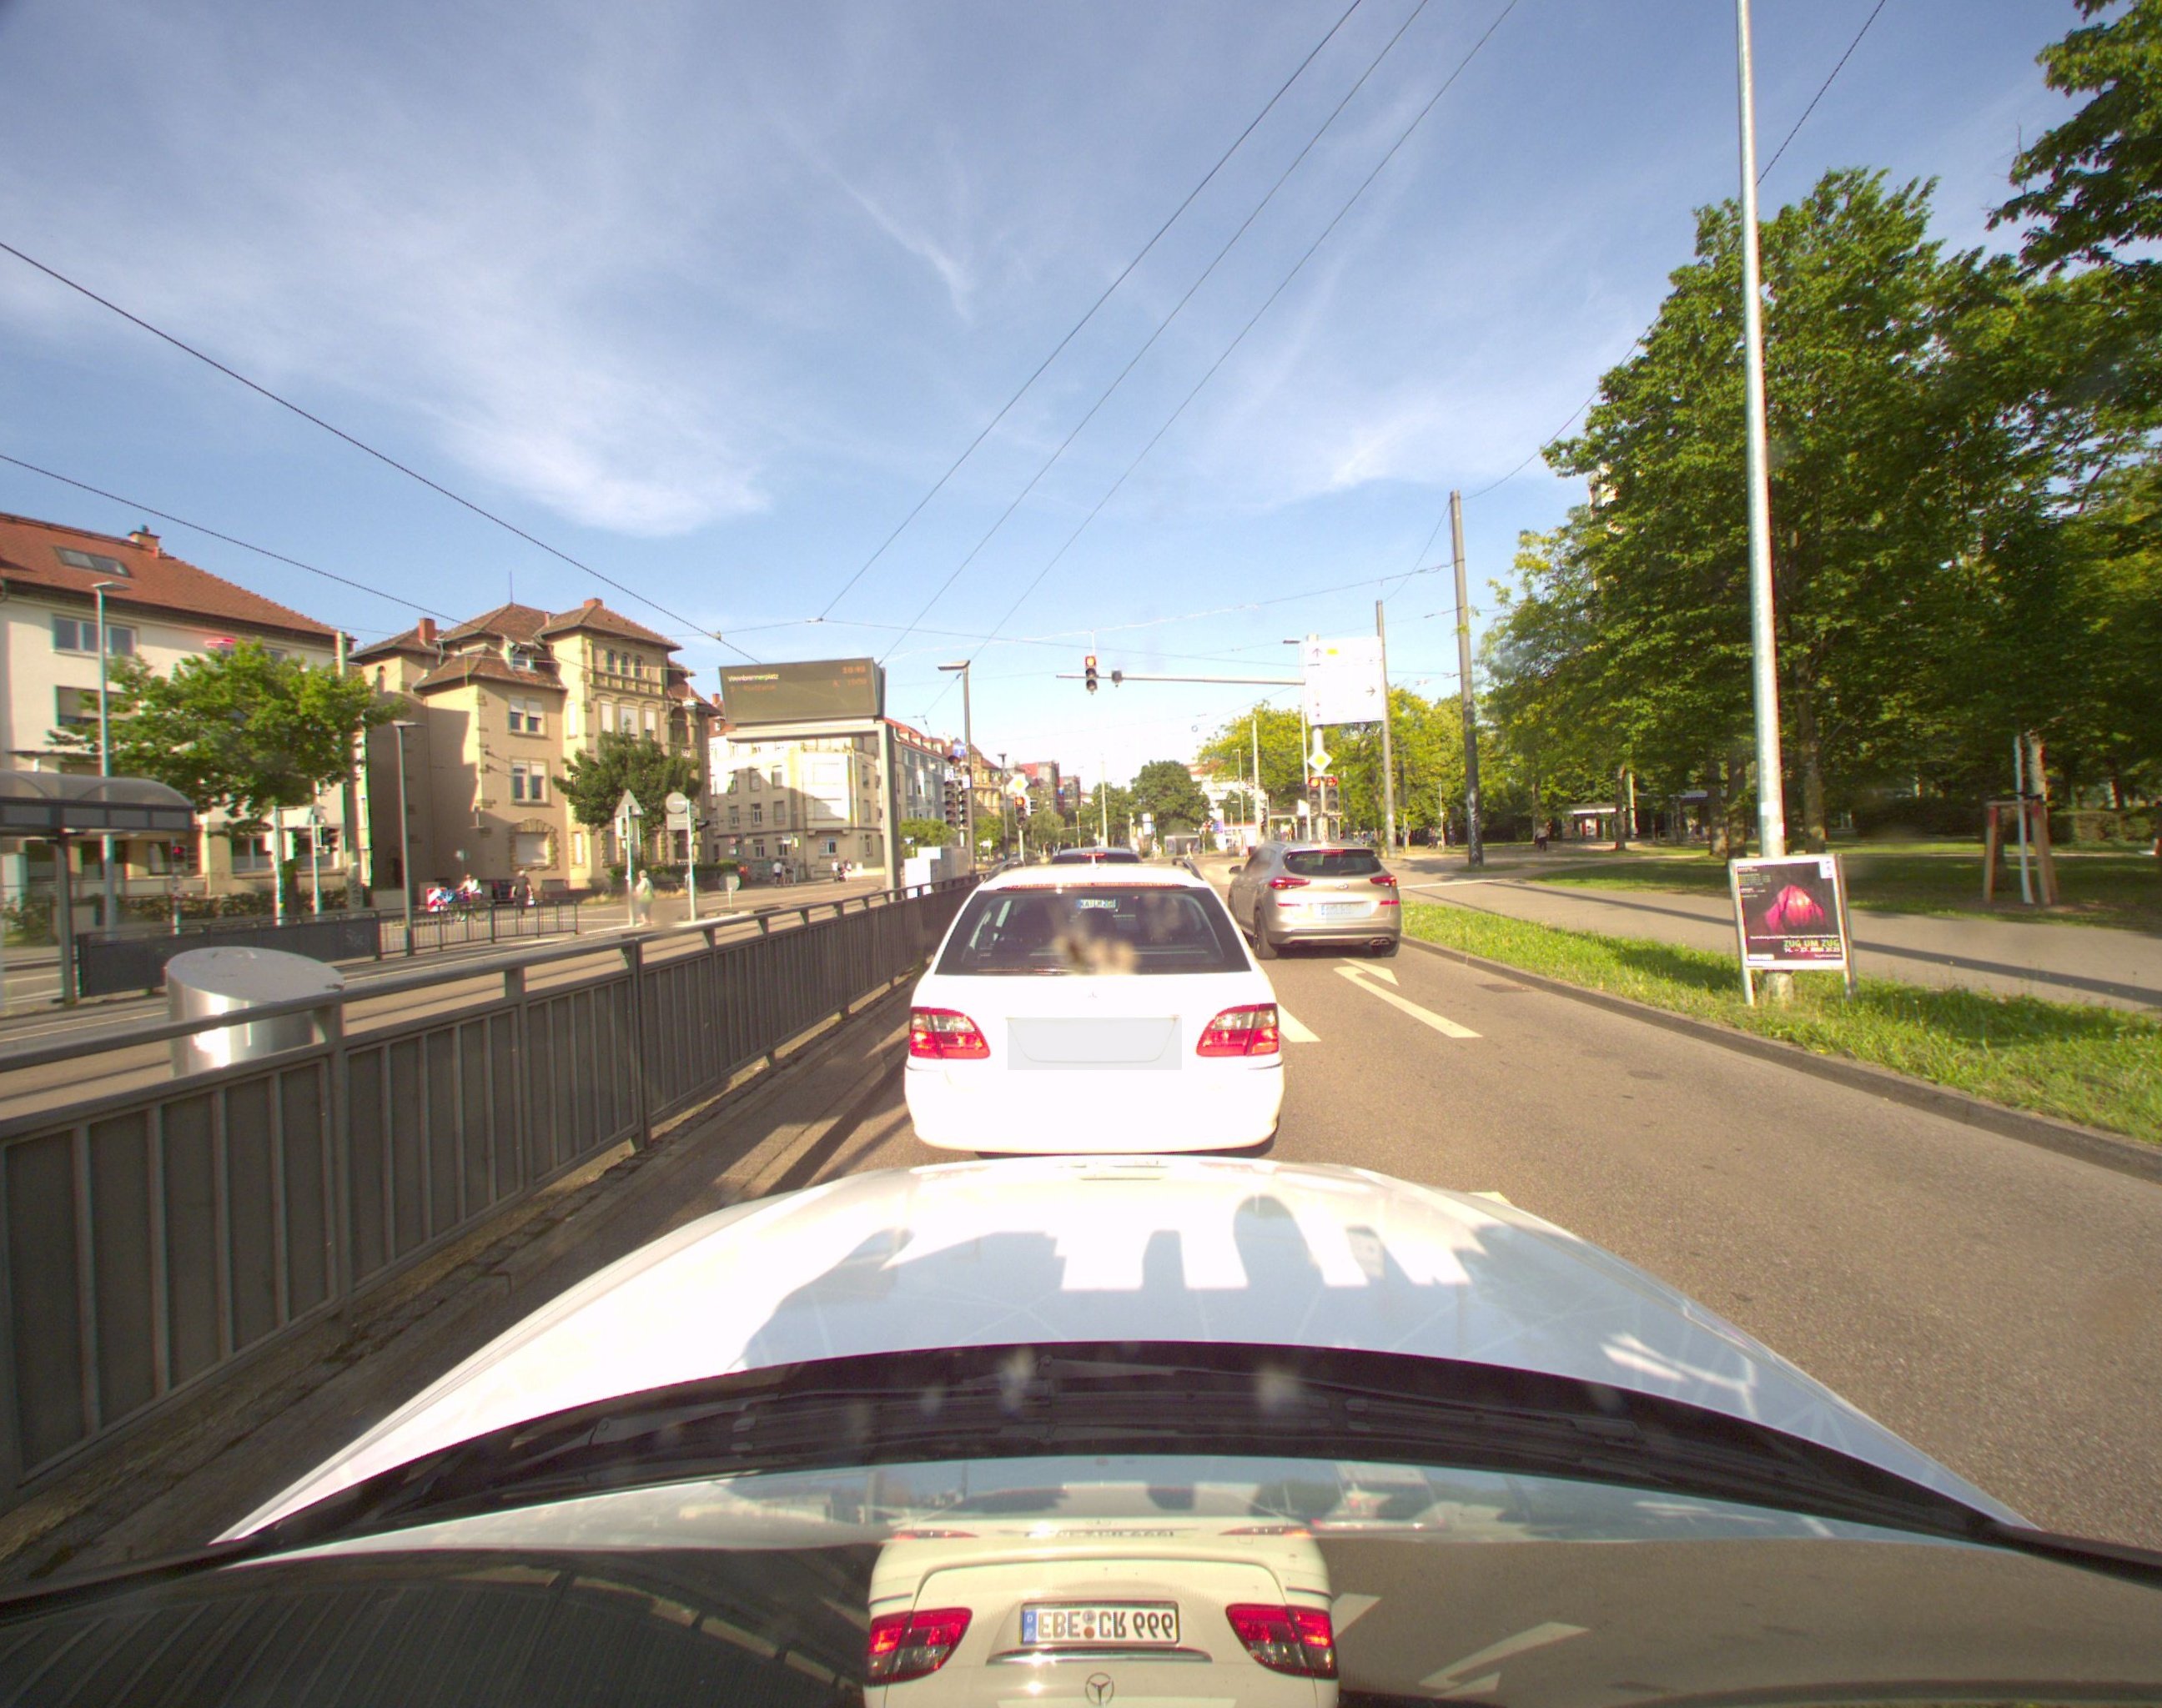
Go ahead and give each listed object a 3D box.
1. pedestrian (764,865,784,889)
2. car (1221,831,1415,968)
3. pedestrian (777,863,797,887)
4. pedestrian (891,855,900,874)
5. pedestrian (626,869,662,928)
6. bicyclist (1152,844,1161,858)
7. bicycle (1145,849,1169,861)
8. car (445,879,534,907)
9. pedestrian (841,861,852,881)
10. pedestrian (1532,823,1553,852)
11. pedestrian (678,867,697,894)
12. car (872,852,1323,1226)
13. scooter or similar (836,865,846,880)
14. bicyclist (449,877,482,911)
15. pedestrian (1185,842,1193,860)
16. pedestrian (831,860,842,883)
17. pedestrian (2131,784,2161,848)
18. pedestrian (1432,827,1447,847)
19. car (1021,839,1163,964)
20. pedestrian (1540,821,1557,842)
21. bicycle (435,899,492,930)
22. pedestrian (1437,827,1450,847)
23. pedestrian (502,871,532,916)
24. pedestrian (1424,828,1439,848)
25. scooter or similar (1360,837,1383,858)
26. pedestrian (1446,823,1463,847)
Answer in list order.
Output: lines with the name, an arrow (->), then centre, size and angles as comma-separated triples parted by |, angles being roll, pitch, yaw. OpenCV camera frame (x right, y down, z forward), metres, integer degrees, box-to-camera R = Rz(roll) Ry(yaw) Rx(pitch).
pedestrian -> -20.218, 1.518, 53.682 | 0.822, 1.552, 0.786 | -3, 0, 23
car -> 3.326, 0.569, 12.189 | 1.878, 1.651, 3.649 | -3, 0, 2
pedestrian -> -19.325, 1.373, 53.516 | 0.822, 1.552, 0.786 | -3, 0, 23
pedestrian -> -16.431, 0.960, 72.214 | 0.621, 1.660, 0.582 | -3, 0, -18
pedestrian -> -12.285, 1.246, 22.896 | 0.611, 1.599, 0.632 | -3, 0, -5
bicyclist -> 8.097, -0.347, 87.536 | 0.855, 1.482, 0.792 | -3, 0, 11
bicycle -> 8.149, 0.119, 87.513 | 2.467, 1.213, 0.809 | -3, 0, 9
car -> -29.453, 1.907, 40.563 | 4.066, 1.310, 1.774 | -1, -1, 24
pedestrian -> -17.208, 1.245, 59.741 | 0.434, 1.500, 0.551 | -3, 0, 16
pedestrian -> 26.823, -0.964, 47.323 | 0.758, 1.636, 0.800 | -3, 0, -38
pedestrian -> -22.895, 1.535, 47.394 | 0.626, 1.541, 0.711 | -3, 0, 1
car -> 0.110, 0.744, 5.112 | 1.789, 1.470, 3.649 | -1, 0, 1
scooter or similar -> -17.840, 1.375, 60.581 | 0.541, 1.079, 0.683 | -1, -1, 1
bicyclist -> -20.112, 1.288, 26.607 | 0.511, 1.044, 0.679 | -3, 0, 0
pedestrian -> 11.172, -0.334, 84.058 | 0.638, 1.857, 0.554 | -3, 0, 13
pedestrian -> -17.962, 1.279, 59.738 | 0.506, 1.626, 0.609 | -3, 0, 3
pedestrian -> 30.918, -1.102, 23.499 | 0.503, 1.811, 0.624 | -3, 0, -24
pedestrian -> 28.106, -1.319, 63.878 | 0.813, 1.487, 0.698 | -3, 0, -9
car -> 0.208, 0.626, 12.696 | 1.878, 1.651, 3.649 | 0, 0, 2
pedestrian -> 36.775, -1.748, 64.061 | 0.831, 1.636, 0.804 | -3, 0, 8
bicycle -> -20.084, 1.953, 26.536 | 0.524, 0.834, 1.686 | -3, 0, 0
pedestrian -> 27.771, -1.299, 62.373 | 0.805, 1.487, 0.705 | -3, 0, 26
pedestrian -> -21.690, 1.509, 31.328 | 0.798, 1.645, 0.748 | -3, 0, -42
pedestrian -> 27.258, -1.237, 63.289 | 0.820, 1.487, 0.692 | -3, 0, -40
scooter or similar -> 16.117, -0.356, 45.237 | 0.421, 1.117, 1.322 | -3, 0, -18
pedestrian -> 29.122, -1.473, 63.498 | 0.797, 1.785, 0.838 | -3, 0, -2
